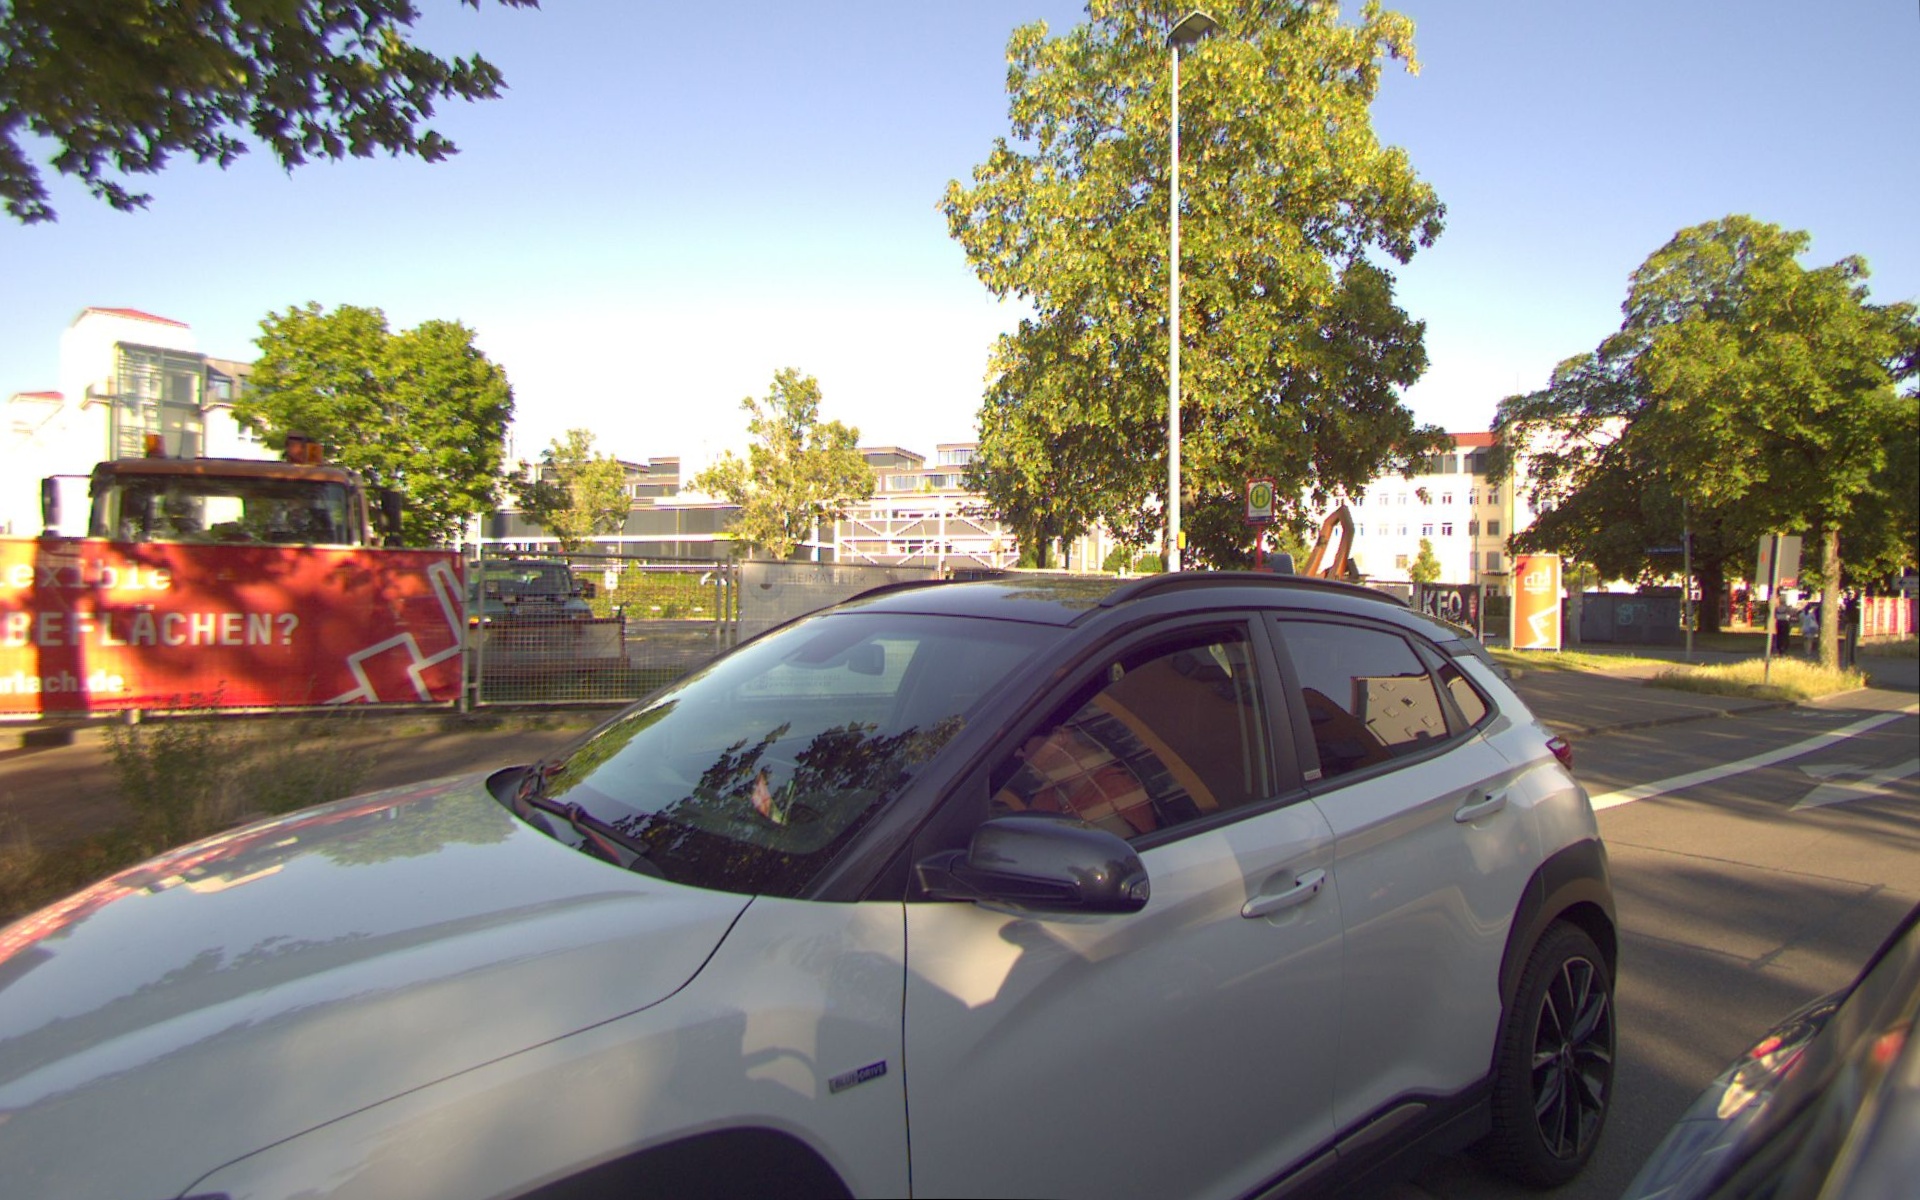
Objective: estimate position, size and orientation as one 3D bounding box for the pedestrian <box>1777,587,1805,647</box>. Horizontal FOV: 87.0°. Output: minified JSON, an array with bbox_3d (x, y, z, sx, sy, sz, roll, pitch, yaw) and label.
[{"bbox_3d":[24.804,0.501,30.196,0.607,1.759,0.629,0,0,44],"label":"pedestrian"}]

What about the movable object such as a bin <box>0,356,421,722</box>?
[{"bbox_3d":[-8.387,-0.549,12.060,3.154,3.087,6.295,0,0,-31],"label":"movable object such as a bin"}]

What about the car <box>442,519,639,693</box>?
[{"bbox_3d":[-5.664,0.044,13.299,2.001,1.851,4.612,0,0,-28],"label":"car"}]

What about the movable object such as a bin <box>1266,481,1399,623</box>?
[{"bbox_3d":[15.526,-1.883,42.767,3.910,5.547,6.022,0,0,6],"label":"movable object such as a bin"}]

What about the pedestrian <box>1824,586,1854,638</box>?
[{"bbox_3d":[28.811,0.379,33.184,0.692,1.689,0.630,0,0,38],"label":"pedestrian"}]

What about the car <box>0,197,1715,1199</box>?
[{"bbox_3d":[0.054,0.608,2.393,3.893,1.618,1.894,3,-2,-39],"label":"car"}]

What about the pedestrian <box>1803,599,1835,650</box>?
[{"bbox_3d":[24.945,0.689,29.379,0.627,1.452,0.609,0,0,-40],"label":"pedestrian"}]
